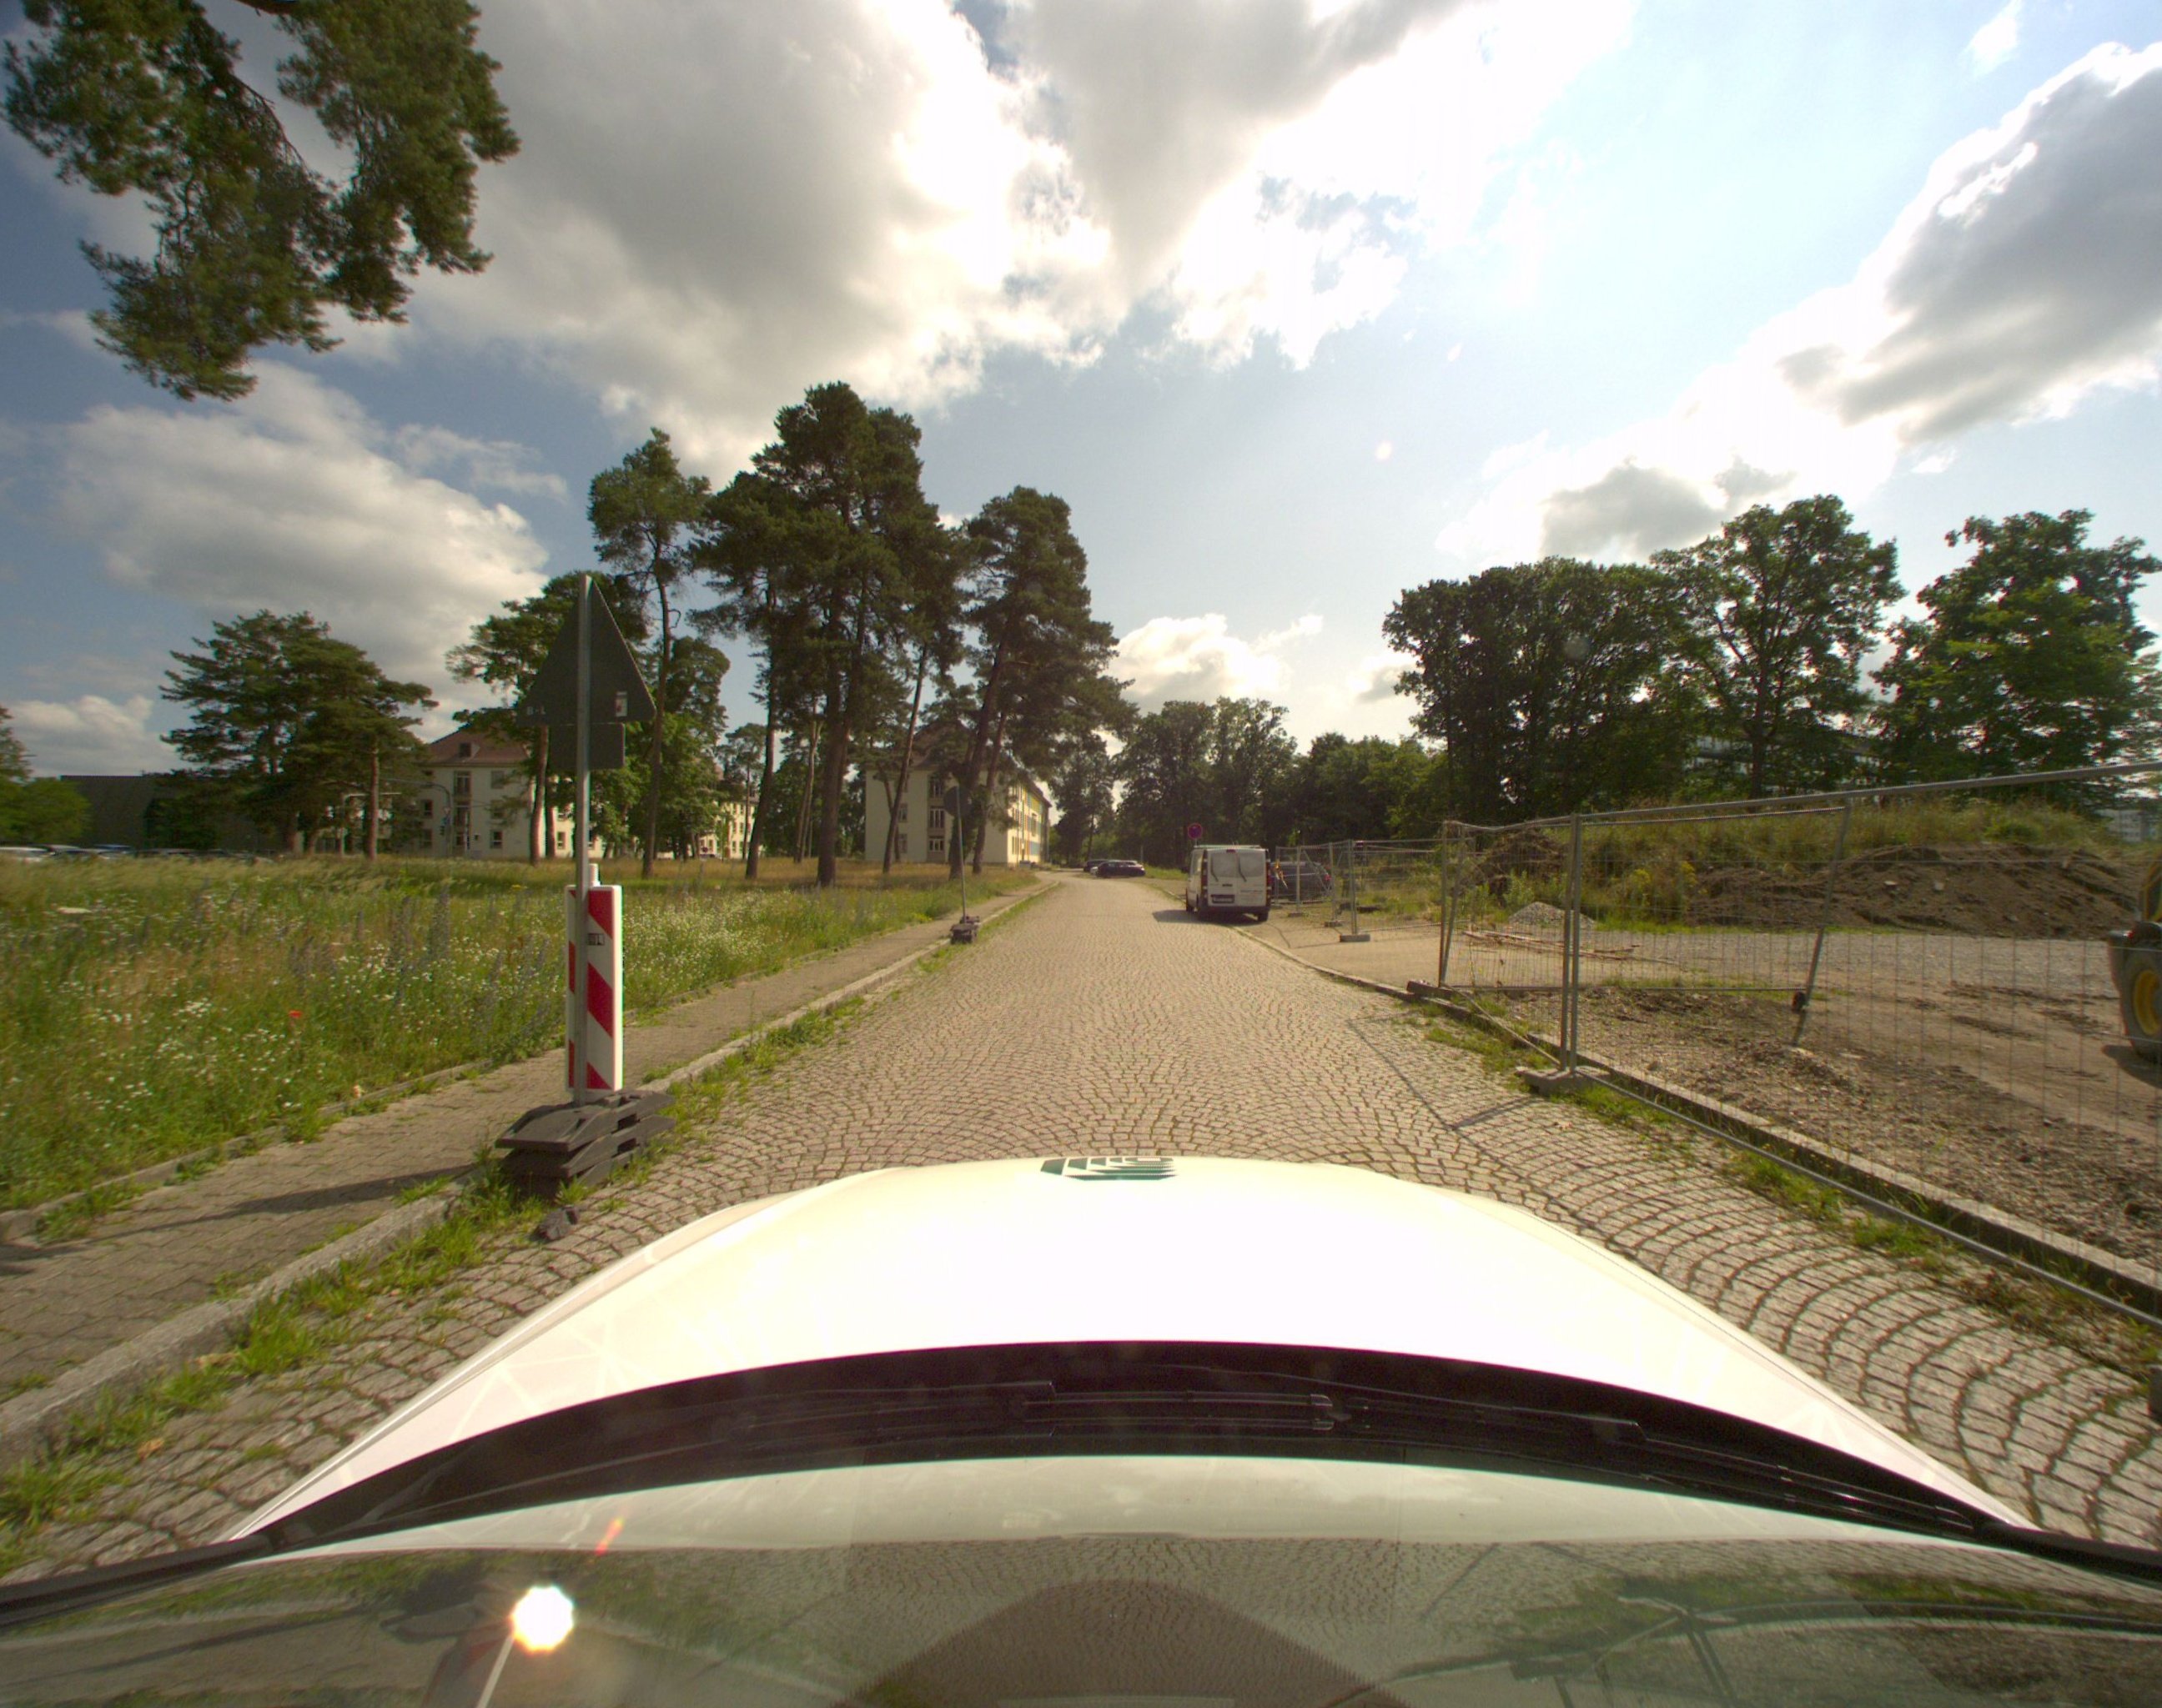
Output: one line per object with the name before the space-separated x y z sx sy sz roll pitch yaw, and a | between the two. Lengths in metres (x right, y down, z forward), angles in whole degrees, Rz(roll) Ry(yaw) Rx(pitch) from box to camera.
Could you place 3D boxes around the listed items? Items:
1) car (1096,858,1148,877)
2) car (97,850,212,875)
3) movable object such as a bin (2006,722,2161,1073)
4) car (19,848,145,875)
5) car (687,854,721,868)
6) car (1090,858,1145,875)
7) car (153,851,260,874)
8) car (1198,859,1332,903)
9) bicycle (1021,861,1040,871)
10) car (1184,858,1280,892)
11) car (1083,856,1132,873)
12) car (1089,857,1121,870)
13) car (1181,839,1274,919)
car | 3.565 1.169 70.933 4.320 1.500 1.826 -1 0 -7
car | -50.706 0.457 44.628 4.053 1.320 1.900 0 -1 0
movable object such as a bin | 8.389 0.311 4.808 2.122 2.521 5.691 -1 0 30
car | -51.225 0.371 41.816 4.053 1.339 1.900 0 -1 0
car | -53.519 1.023 115.588 4.043 1.992 1.714 0 -1 2
car | 3.281 1.132 74.094 4.847 1.472 1.874 -1 0 -1
car | -50.412 0.488 47.006 4.053 1.309 1.900 0 -1 0
car | 6.619 0.953 29.580 4.443 1.475 1.743 -1 -1 -3
bicycle | -6.083 1.477 98.695 2.212 1.260 0.623 0 -1 3
car | 6.861 0.948 37.254 4.031 1.464 1.703 -1 -1 -2
car | 2.646 1.085 81.460 4.837 1.553 1.879 -1 -1 -1
car | 3.253 1.291 109.589 4.170 1.543 1.821 -1 -1 3
car | 4.092 0.673 23.635 1.906 2.053 5.682 0 -1 2
